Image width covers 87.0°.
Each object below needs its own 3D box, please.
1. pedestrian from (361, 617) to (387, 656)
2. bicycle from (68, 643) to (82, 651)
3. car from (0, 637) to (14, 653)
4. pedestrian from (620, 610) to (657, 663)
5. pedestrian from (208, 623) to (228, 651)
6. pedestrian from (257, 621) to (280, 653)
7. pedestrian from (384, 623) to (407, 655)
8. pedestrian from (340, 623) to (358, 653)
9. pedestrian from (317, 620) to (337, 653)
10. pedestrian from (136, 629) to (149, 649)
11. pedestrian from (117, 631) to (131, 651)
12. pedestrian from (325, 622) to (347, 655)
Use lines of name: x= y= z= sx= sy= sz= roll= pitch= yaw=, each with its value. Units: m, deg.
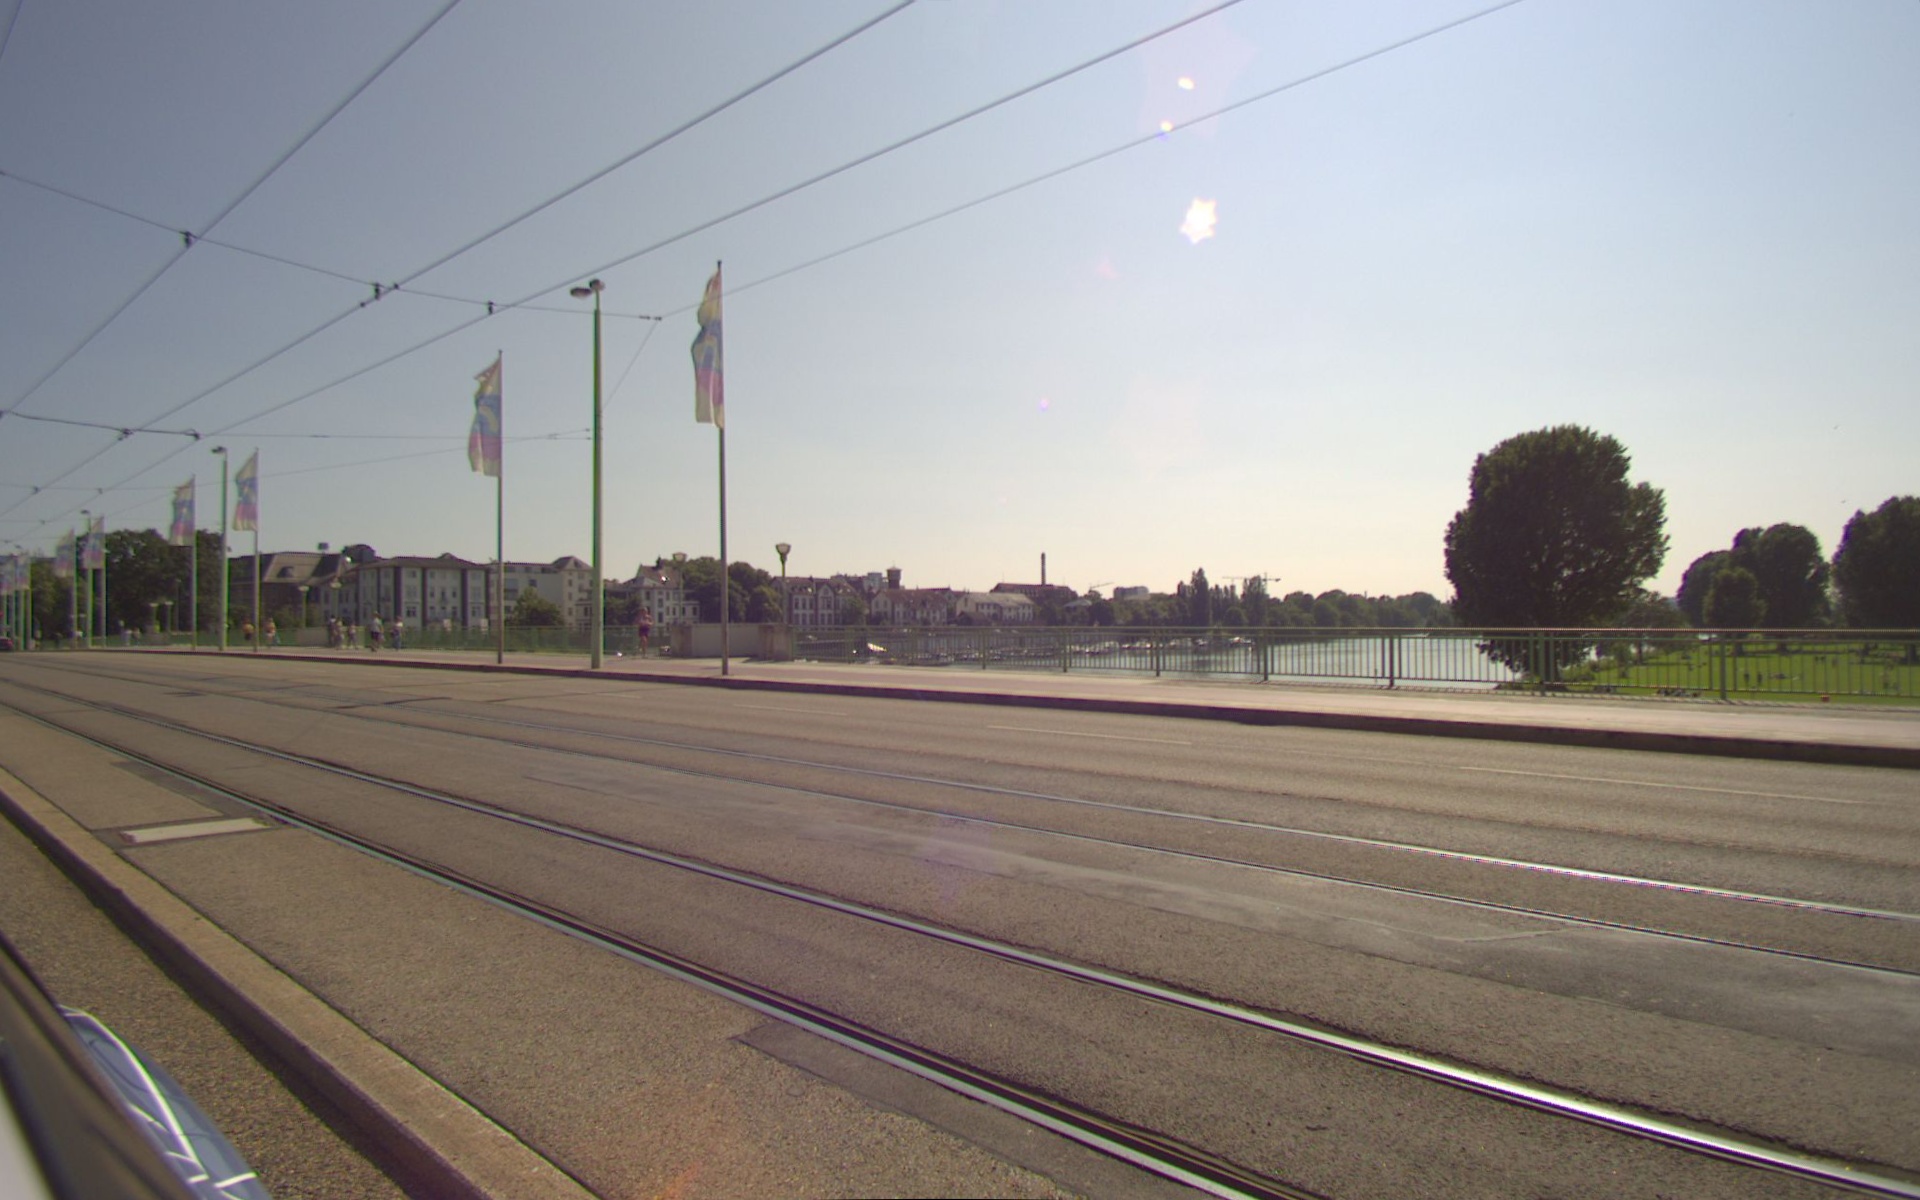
pedestrian: x=-26.610 y=1.665 z=45.944 sx=1.022 sy=1.712 sz=0.663 roll=-2 pitch=0 yaw=41
bicycle: x=-79.010 y=4.174 z=90.360 sx=2.171 sy=0.721 sz=0.658 roll=-2 pitch=-1 yaw=41
car: x=-92.366 y=4.337 z=97.264 sx=3.899 sy=1.465 sz=1.698 roll=-2 pitch=-2 yaw=41
pedestrian: x=-10.739 y=1.210 z=33.800 sx=1.022 sy=1.703 sz=0.677 roll=-2 pitch=0 yaw=41
pedestrian: x=-47.290 y=2.364 z=64.471 sx=1.022 sy=1.712 sz=0.777 roll=-2 pitch=1 yaw=41
pedestrian: x=-38.429 y=2.049 z=56.258 sx=1.022 sy=1.712 sz=0.777 roll=-2 pitch=1 yaw=41
pedestrian: x=-25.854 y=1.792 z=46.362 sx=1.022 sy=1.425 sz=0.584 roll=-2 pitch=0 yaw=41
pedestrian: x=-30.536 y=1.910 z=50.591 sx=0.788 sy=1.448 sz=0.540 roll=-2 pitch=0 yaw=41
pedestrian: x=-33.698 y=1.939 z=53.877 sx=1.022 sy=1.712 sz=0.584 roll=-2 pitch=0 yaw=41
pedestrian: x=-69.727 y=3.317 z=86.351 sx=0.904 sy=1.712 sz=0.584 roll=-2 pitch=3 yaw=41
pedestrian: x=-70.600 y=3.458 z=85.470 sx=1.022 sy=1.712 sz=0.584 roll=-2 pitch=3 yaw=41
pedestrian: x=-30.915 y=1.891 z=50.108 sx=1.022 sy=1.611 sz=0.620 roll=-2 pitch=0 yaw=41
